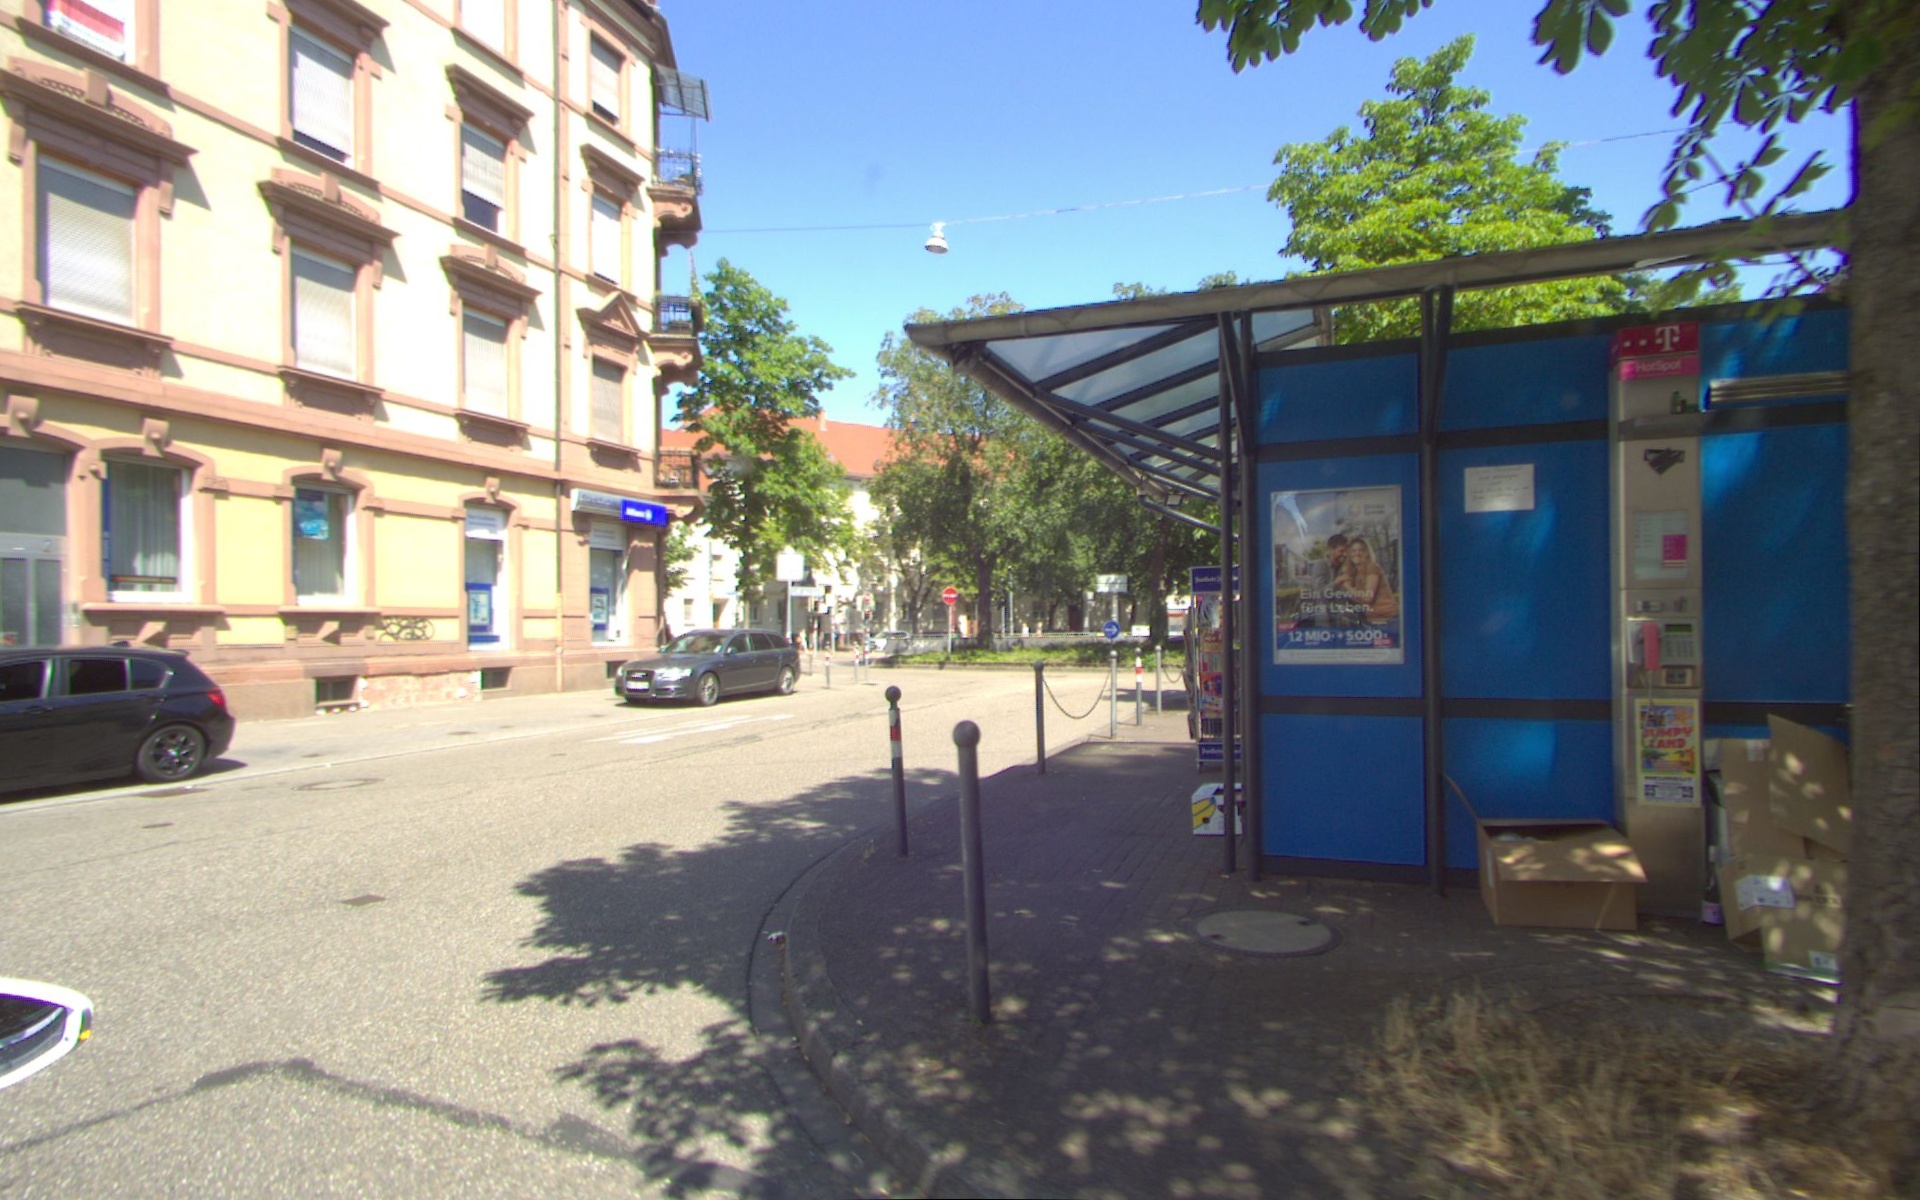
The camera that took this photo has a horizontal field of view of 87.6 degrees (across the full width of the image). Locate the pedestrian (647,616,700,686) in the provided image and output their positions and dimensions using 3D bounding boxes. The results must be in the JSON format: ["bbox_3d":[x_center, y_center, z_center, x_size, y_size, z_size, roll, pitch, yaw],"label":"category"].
[{"bbox_3d":[-8.698,1.529,30.378,1.217,2.040,1.043,-1,0,43],"label":"pedestrian"}]

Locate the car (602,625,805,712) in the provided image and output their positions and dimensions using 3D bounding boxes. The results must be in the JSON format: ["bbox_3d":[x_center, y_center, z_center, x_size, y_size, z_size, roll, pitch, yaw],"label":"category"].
[{"bbox_3d":[-5.037,1.285,20.340,1.776,1.474,4.426,0,0,21],"label":"car"}]

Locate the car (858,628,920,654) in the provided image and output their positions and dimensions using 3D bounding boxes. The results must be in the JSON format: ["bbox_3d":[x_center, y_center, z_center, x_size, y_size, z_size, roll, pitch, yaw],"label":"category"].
[{"bbox_3d":[-4.804,2.766,68.433,1.963,1.643,3.966,-1,-1,42],"label":"car"}]

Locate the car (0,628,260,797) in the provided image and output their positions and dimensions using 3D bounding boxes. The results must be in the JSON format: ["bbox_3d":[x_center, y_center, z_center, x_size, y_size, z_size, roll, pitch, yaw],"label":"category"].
[{"bbox_3d":[-9.245,1.026,9.249,1.775,1.388,4.298,2,0,21],"label":"car"}]

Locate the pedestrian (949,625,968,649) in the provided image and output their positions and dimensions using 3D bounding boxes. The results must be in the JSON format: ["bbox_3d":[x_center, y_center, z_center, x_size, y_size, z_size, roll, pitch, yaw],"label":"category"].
[{"bbox_3d":[-0.105,2.703,73.498,0.964,1.750,0.902,-1,0,-40],"label":"pedestrian"}]
